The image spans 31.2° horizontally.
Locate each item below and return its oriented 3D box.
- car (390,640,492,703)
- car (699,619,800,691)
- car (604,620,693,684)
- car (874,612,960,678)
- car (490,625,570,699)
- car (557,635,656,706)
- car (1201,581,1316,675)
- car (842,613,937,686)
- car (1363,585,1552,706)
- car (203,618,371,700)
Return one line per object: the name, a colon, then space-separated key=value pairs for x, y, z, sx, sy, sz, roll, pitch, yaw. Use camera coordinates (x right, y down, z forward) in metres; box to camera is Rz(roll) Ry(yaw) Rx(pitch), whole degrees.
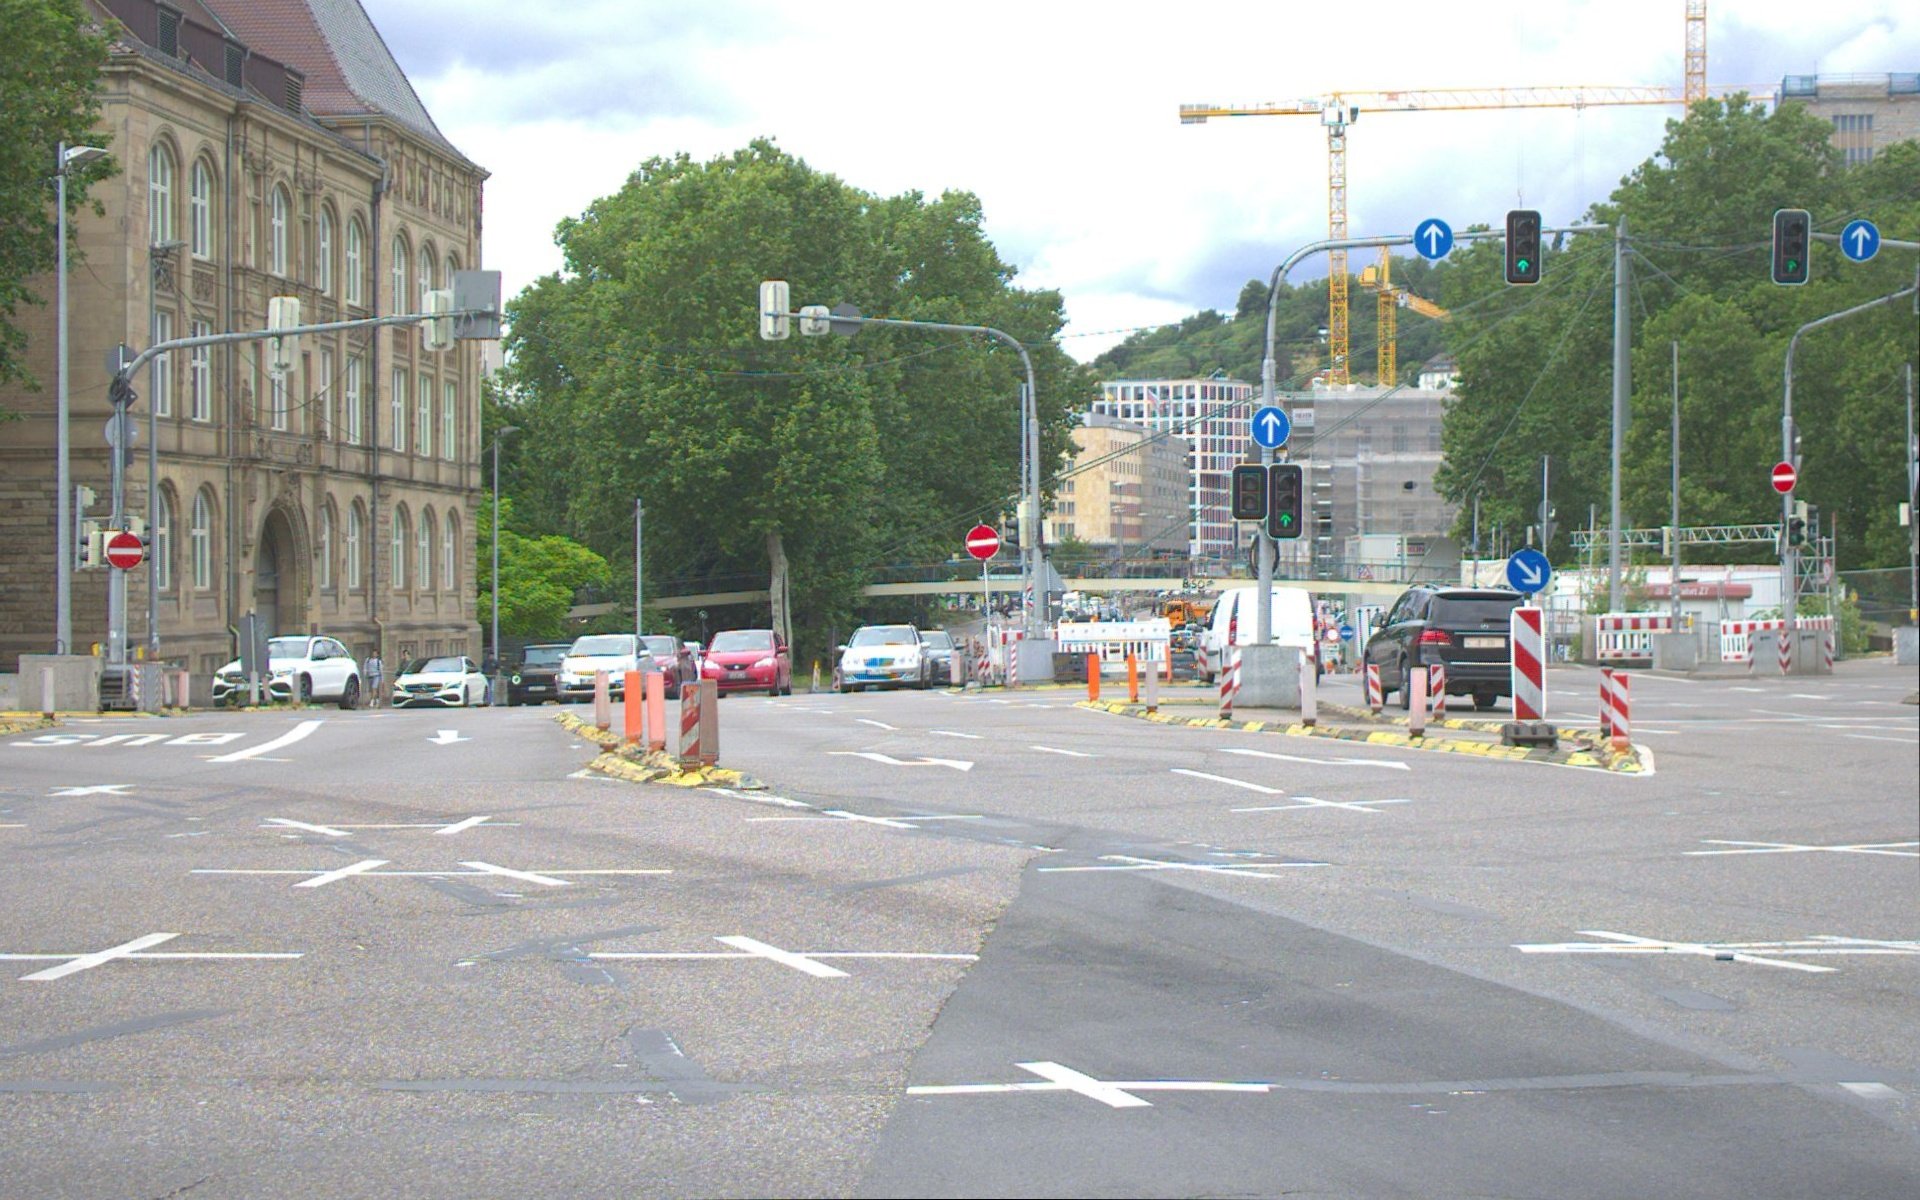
car: x=-12.825 y=1.759 z=85.159 sx=1.734 sy=1.430 sz=4.381 roll=1 pitch=0 yaw=1
car: x=-4.406 y=1.142 z=72.364 sx=1.686 sy=1.430 sz=3.446 roll=-1 pitch=-1 yaw=3
car: x=-7.286 y=1.213 z=80.669 sx=1.660 sy=1.430 sz=3.447 roll=1 pitch=0 yaw=1
car: x=-0.969 y=1.040 z=78.906 sx=1.689 sy=1.430 sz=3.446 roll=-2 pitch=-1 yaw=3
car: x=-12.639 y=1.836 z=101.150 sx=1.932 sy=1.932 sz=3.672 roll=-2 pitch=-4 yaw=-2
car: x=-7.554 y=1.533 z=73.744 sx=1.660 sy=1.431 sz=3.446 roll=-2 pitch=-2 yaw=1
car: x=5.468 y=0.535 z=63.314 sx=1.758 sy=1.682 sz=3.642 roll=0 pitch=-1 yaw=-1
car: x=-1.470 y=1.044 z=72.377 sx=1.689 sy=1.430 sz=3.446 roll=-2 pitch=-1 yaw=3
car: x=7.023 y=0.650 z=48.880 sx=1.938 sy=1.661 sz=3.643 roll=0 pitch=-1 yaw=-4
car: x=-14.152 y=1.214 z=72.541 sx=1.812 sy=1.637 sz=4.549 roll=1 pitch=0 yaw=12
